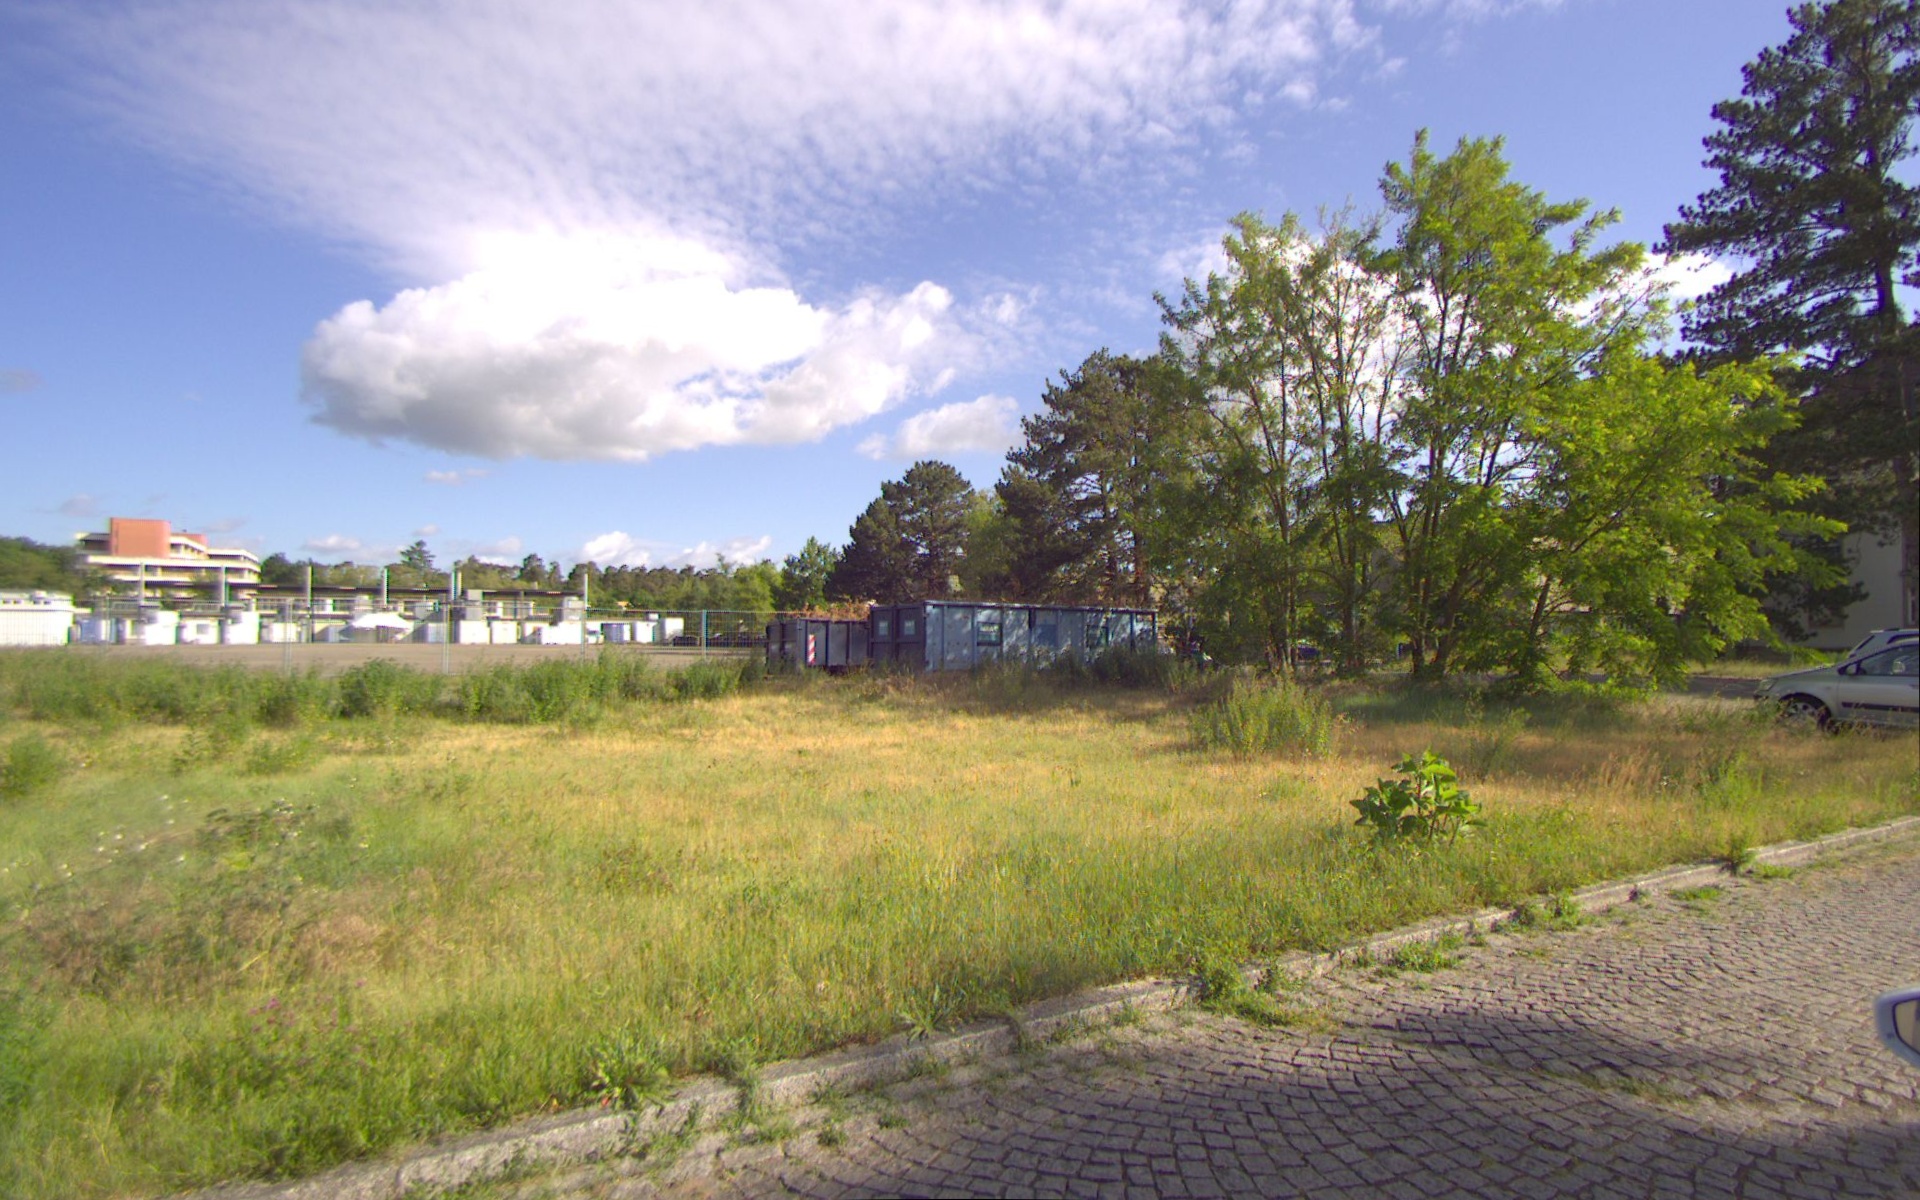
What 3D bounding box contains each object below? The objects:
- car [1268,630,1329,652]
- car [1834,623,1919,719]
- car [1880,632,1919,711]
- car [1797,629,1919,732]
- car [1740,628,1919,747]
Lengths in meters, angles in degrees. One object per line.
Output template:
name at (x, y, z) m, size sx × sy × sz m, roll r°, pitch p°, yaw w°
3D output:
car at (23.458, 2.813, 69.616) m, size 3.952 × 1.452 × 1.894 m, roll 2°, pitch -2°, yaw -30°
car at (17.889, 1.276, 17.199) m, size 1.865 × 1.614 × 4.057 m, roll 1°, pitch 0°, yaw -32°
car at (19.847, 1.409, 18.242) m, size 1.811 × 1.488 × 4.309 m, roll 1°, pitch 0°, yaw -32°
car at (15.581, 1.271, 15.329) m, size 1.783 × 1.500 × 3.964 m, roll 1°, pitch 0°, yaw -32°
car at (13.385, 1.207, 13.938) m, size 1.628 × 1.507 × 3.725 m, roll 1°, pitch 0°, yaw -32°
